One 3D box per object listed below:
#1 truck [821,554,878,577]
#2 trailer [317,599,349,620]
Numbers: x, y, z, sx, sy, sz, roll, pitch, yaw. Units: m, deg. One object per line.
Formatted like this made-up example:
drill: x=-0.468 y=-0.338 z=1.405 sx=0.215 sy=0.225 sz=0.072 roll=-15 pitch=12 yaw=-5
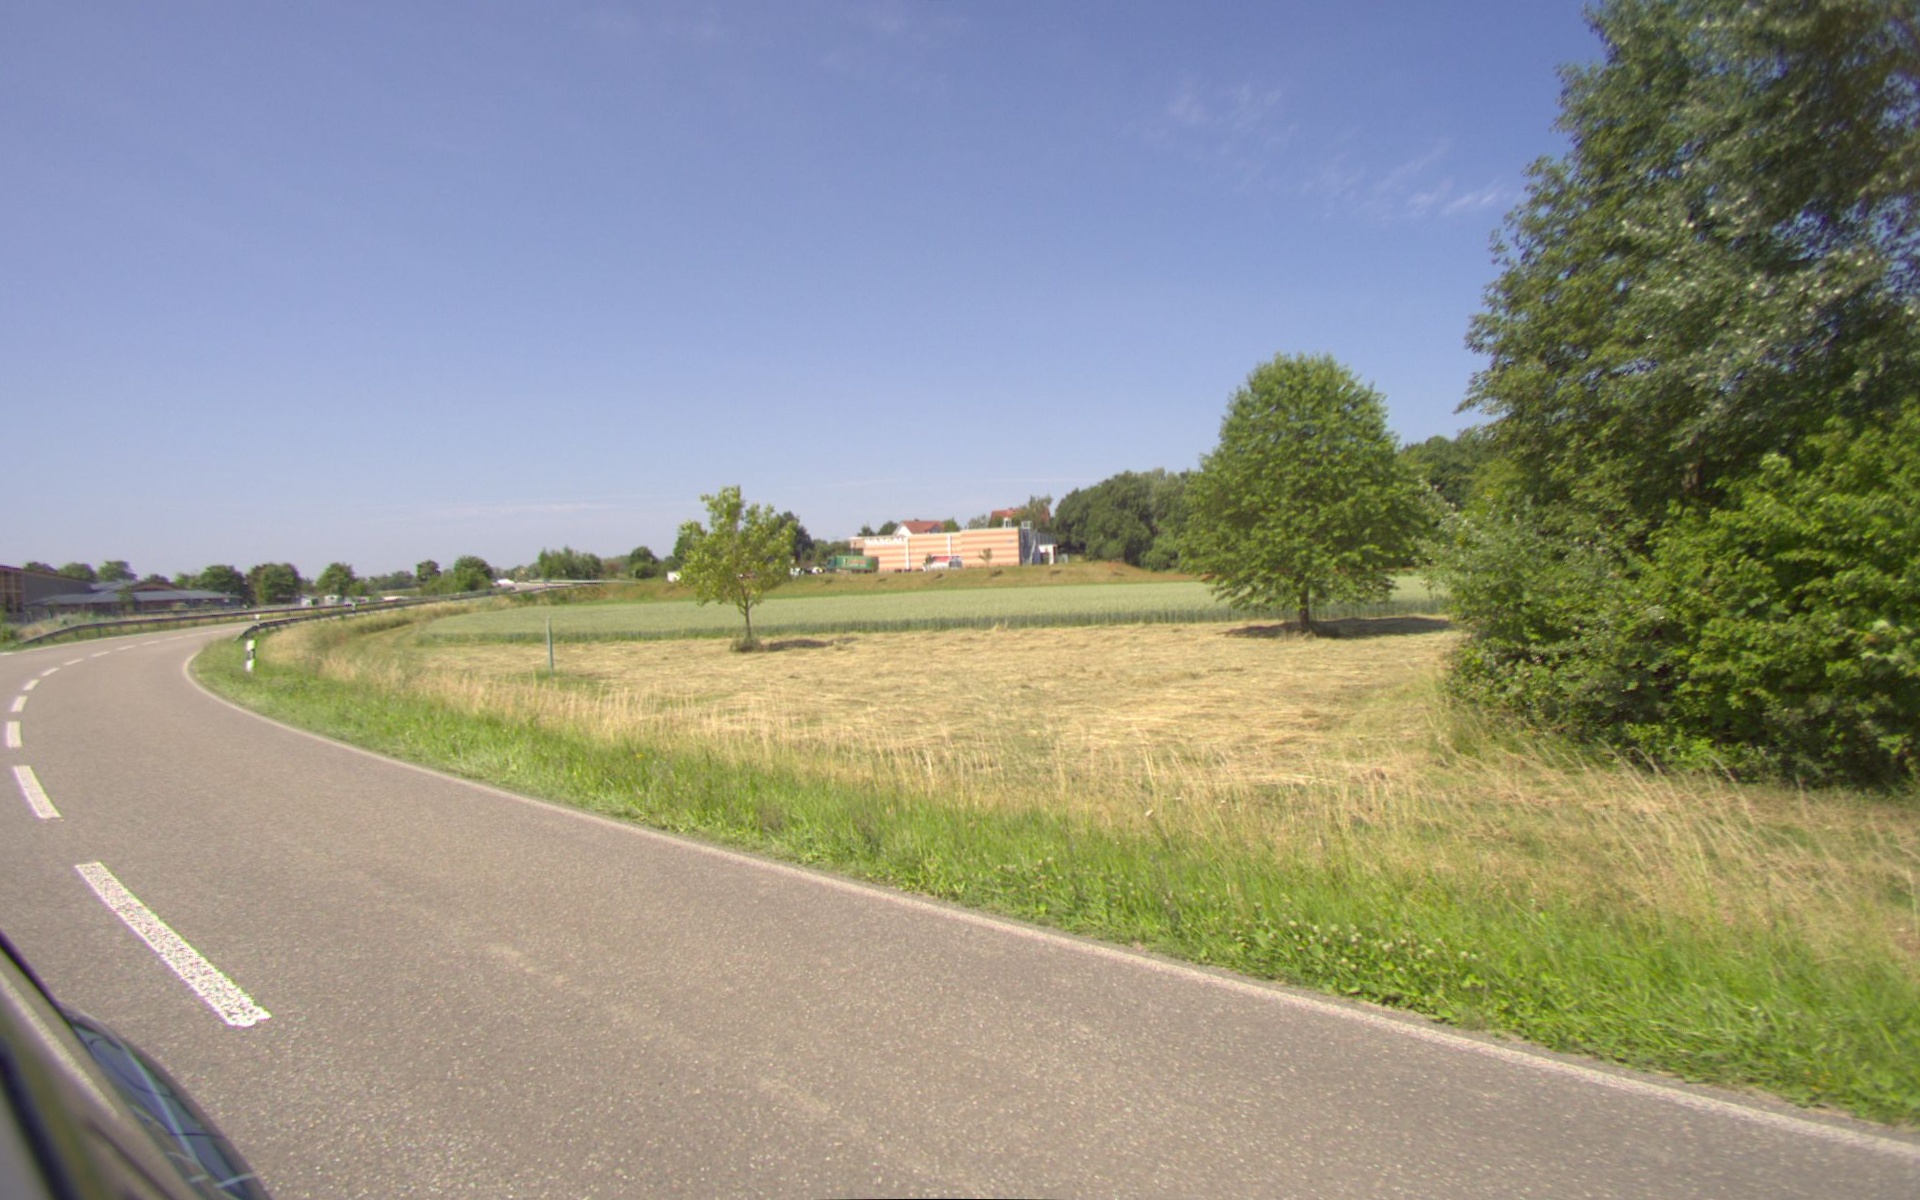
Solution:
truck: x=-19.930 y=-6.209 z=182.277 sx=9.861 sy=3.502 sz=2.862 roll=-2 pitch=3 yaw=18
trailer: x=-90.156 y=1.421 z=145.410 sx=5.037 sy=2.886 sz=2.207 roll=-1 pitch=1 yaw=38
